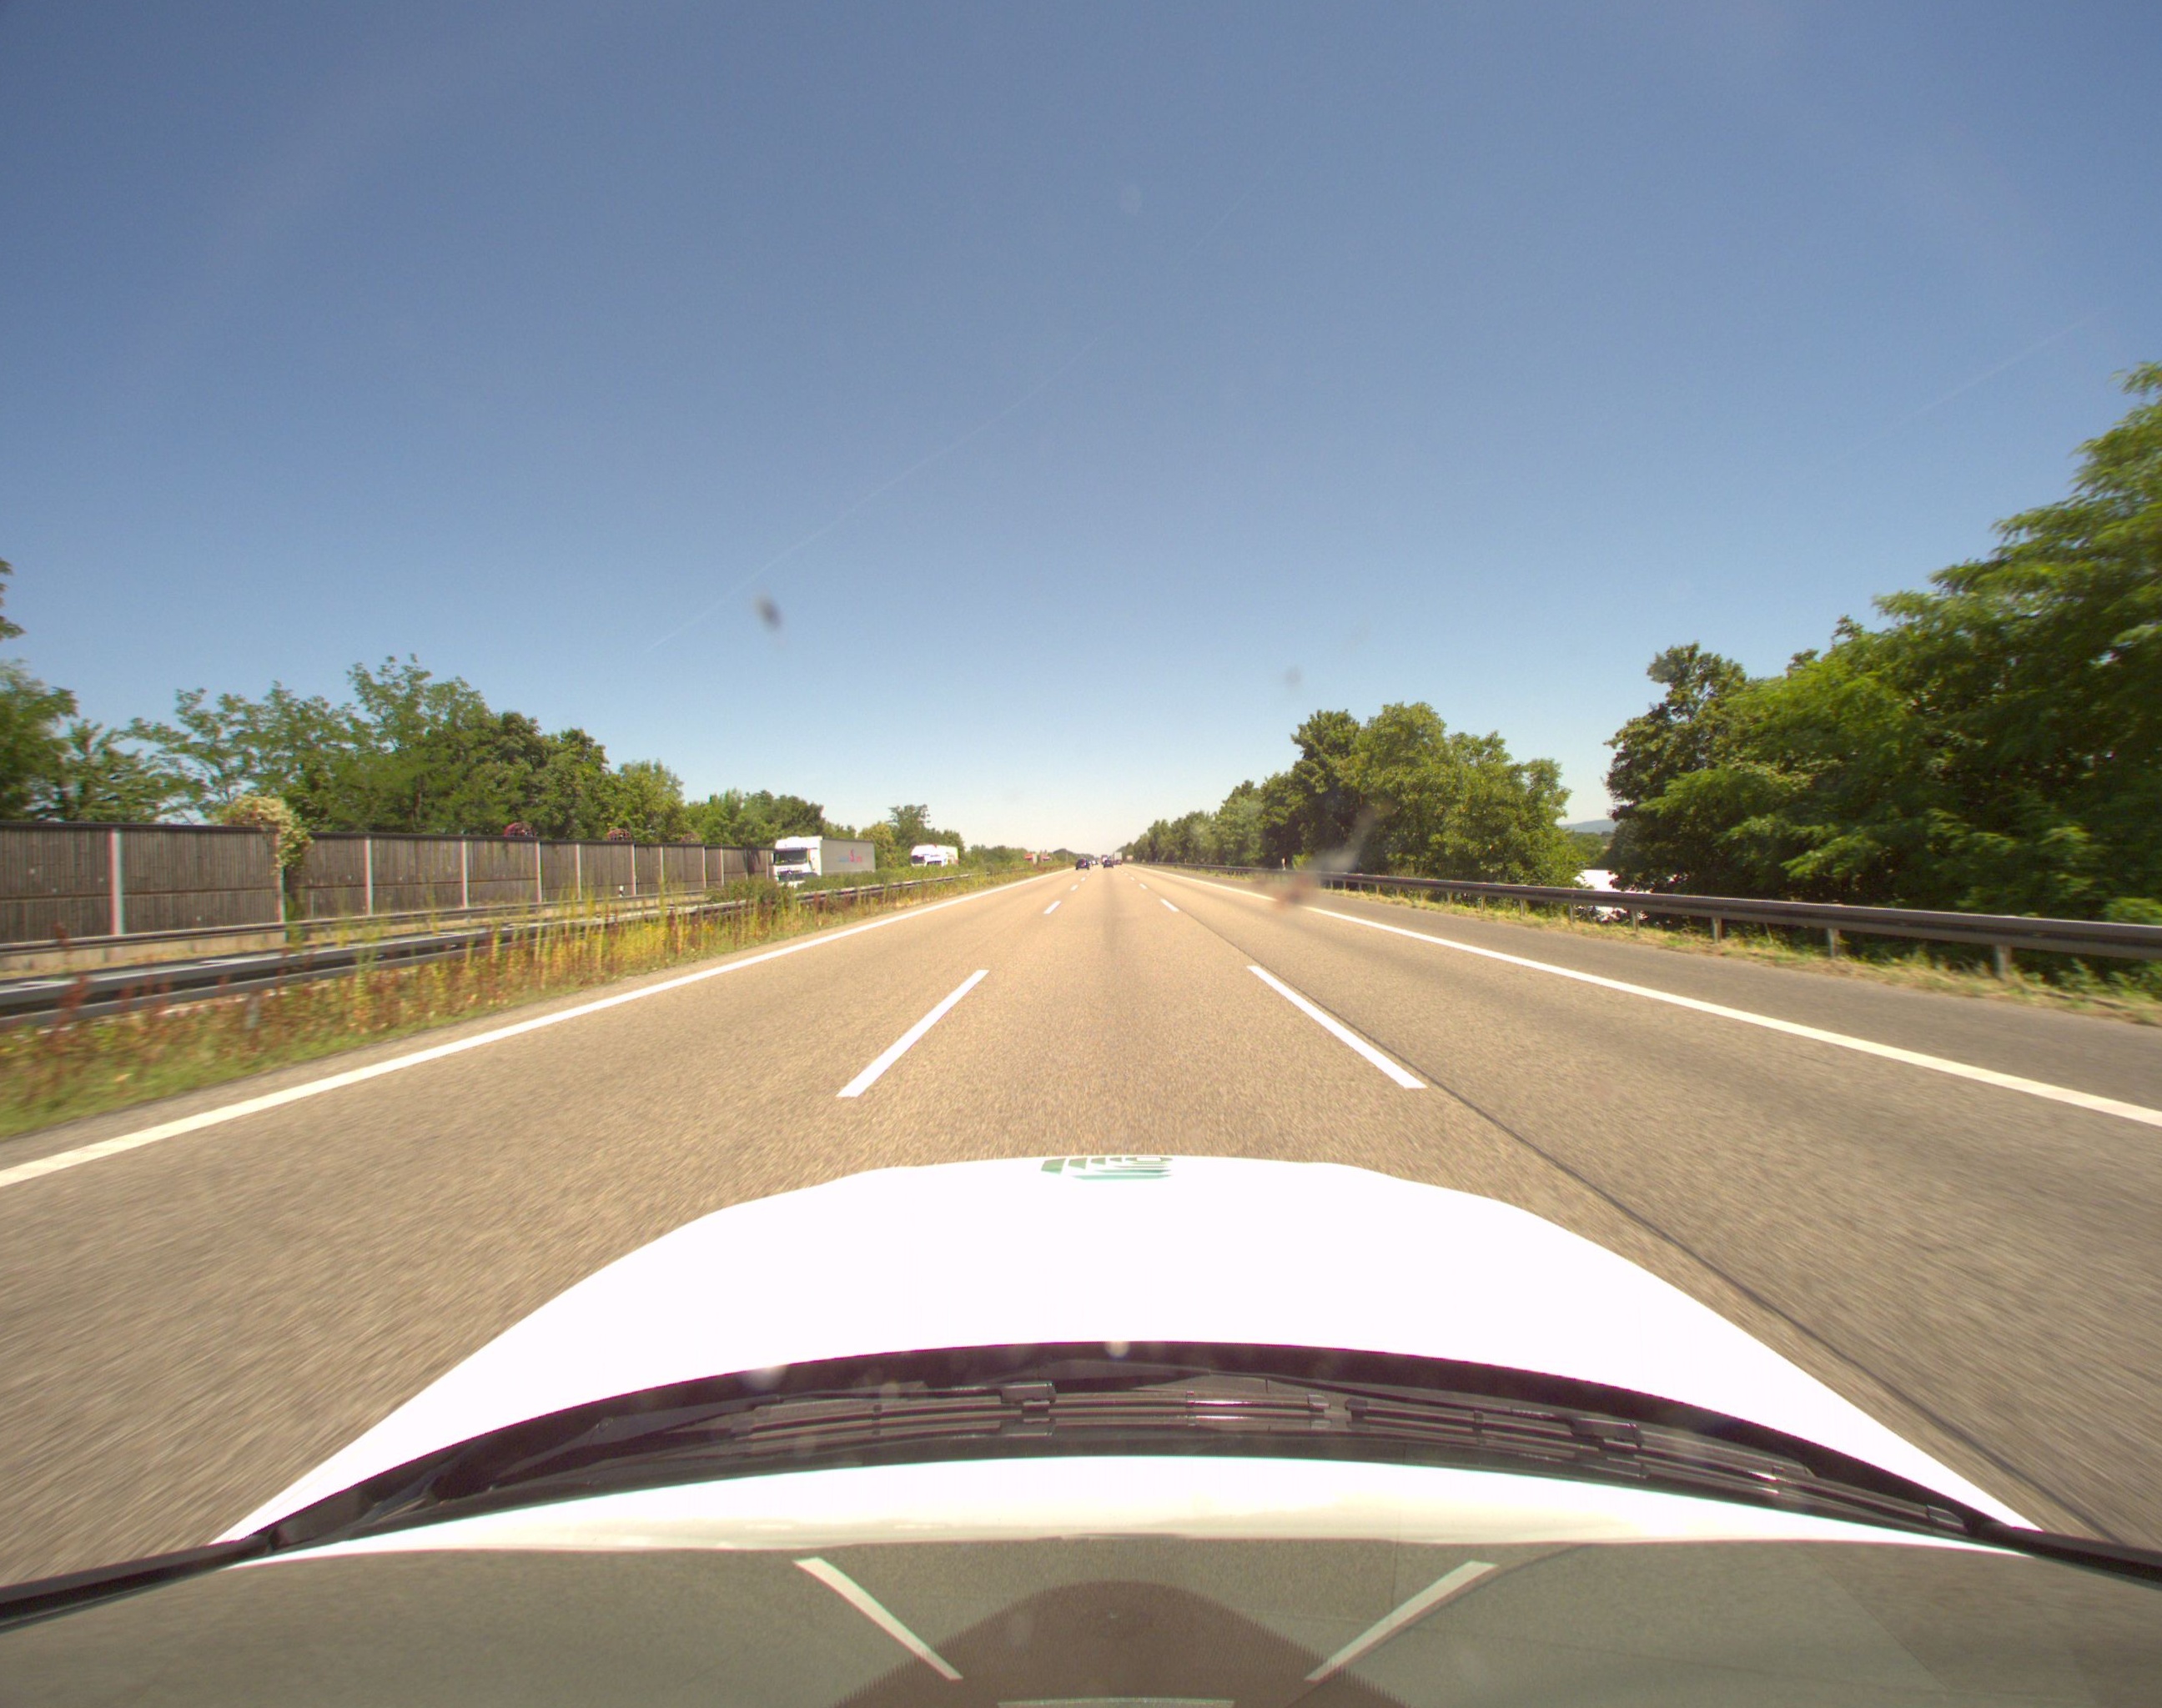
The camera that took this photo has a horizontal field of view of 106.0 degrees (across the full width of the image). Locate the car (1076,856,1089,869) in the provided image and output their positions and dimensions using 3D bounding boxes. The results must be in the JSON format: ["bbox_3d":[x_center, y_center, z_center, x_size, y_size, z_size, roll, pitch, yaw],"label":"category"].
[{"bbox_3d":[0.184,1.175,120.039,1.874,1.792,4.000,-1,1,0],"label":"car"}]

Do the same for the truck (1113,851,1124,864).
[{"bbox_3d":[11.896,1.270,261.105,3.372,3.970,9.541,-2,-1,2],"label":"truck"}]

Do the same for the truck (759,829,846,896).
[{"bbox_3d":[-19.855,0.595,58.699,3.205,4.440,7.874,-1,-1,2],"label":"truck"}]

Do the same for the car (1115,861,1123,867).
[{"bbox_3d":[10.577,2.810,229.094,2.120,1.584,4.306,-2,-1,2],"label":"car"}]

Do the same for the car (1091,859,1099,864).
[{"bbox_3d":[4.156,2.274,244.098,2.120,1.645,4.306,-2,-1,2],"label":"car"}]

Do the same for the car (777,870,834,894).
[{"bbox_3d":[-15.137,1.519,44.934,1.619,1.155,4.081,-1,0,2],"label":"car"}]

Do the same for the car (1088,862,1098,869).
[{"bbox_3d":[2.687,2.669,187.818,2.120,1.645,4.306,-2,-1,2],"label":"car"}]

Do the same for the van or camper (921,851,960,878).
[{"bbox_3d":[-14.420,1.080,83.962,2.456,2.576,7.414,-1,0,2],"label":"van or camper"}]

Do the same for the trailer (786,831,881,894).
[{"bbox_3d":[-19.572,0.665,65.622,3.154,4.478,12.958,-1,0,2],"label":"trailer"}]

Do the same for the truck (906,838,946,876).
[{"bbox_3d":[-18.173,0.356,95.853,2.831,4.207,7.718,-1,0,2],"label":"truck"}]

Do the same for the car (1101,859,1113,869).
[{"bbox_3d":[4.422,1.653,136.104,1.896,1.584,4.306,-2,-1,2],"label":"car"}]
